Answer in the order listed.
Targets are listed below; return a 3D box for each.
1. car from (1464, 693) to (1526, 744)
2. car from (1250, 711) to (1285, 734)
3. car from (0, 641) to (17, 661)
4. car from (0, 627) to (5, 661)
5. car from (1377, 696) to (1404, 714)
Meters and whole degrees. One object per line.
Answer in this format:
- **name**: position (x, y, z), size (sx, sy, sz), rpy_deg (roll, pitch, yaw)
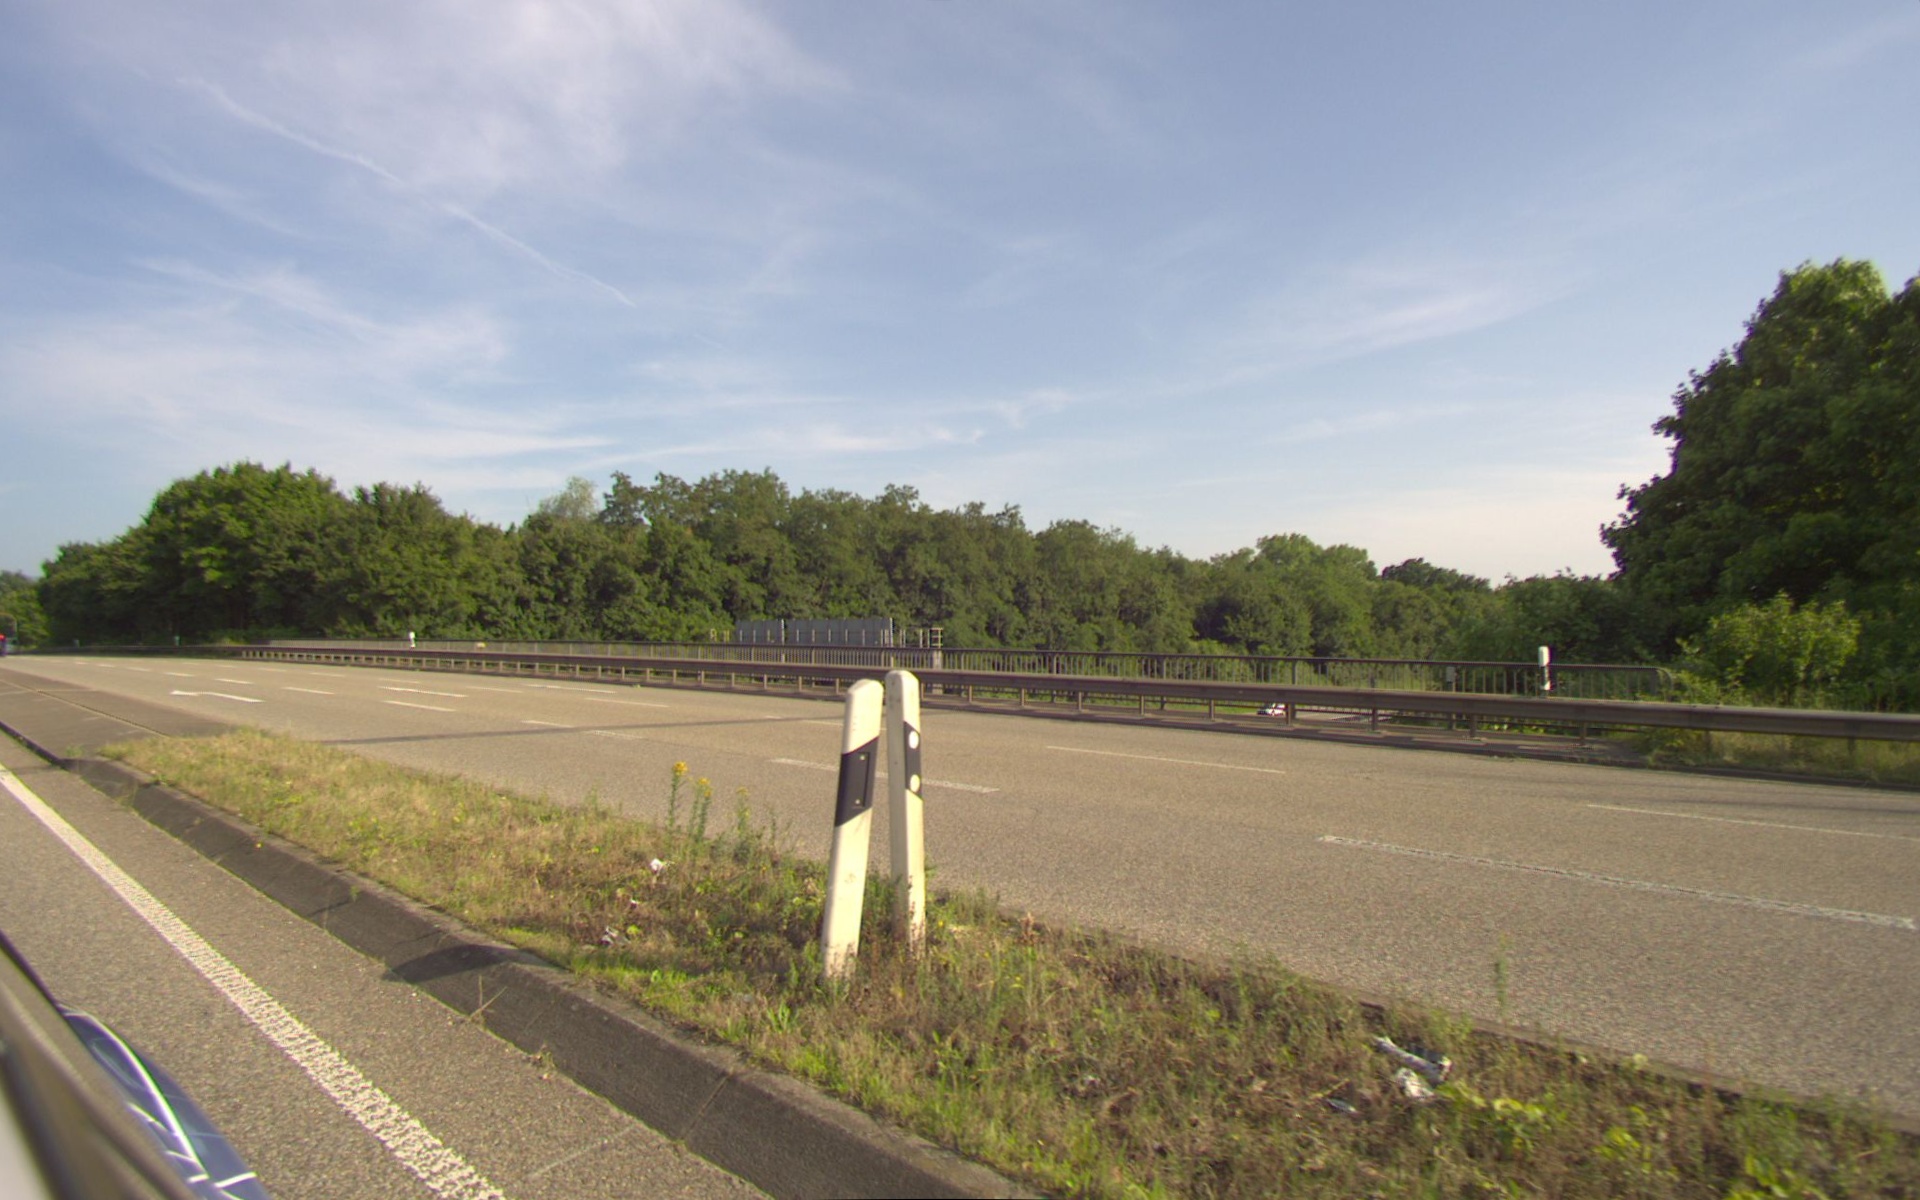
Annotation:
- **car**: position (38.089, 8.450, 71.931), size (2.762, 3.142, 6.232), rpy_deg (0, -8, 39)
- **car**: position (30.661, 12.188, 100.794), size (1.879, 1.737, 4.134), rpy_deg (-2, -1, 39)
- **car**: position (-99.433, 5.280, 104.974), size (4.418, 1.842, 1.895), rpy_deg (0, 0, 41)
- **car**: position (-55.442, 2.453, 56.982), size (4.616, 1.842, 1.973), rpy_deg (0, 0, 41)
- **car**: position (52.393, 12.778, 123.175), size (1.879, 1.737, 4.134), rpy_deg (-2, -1, 39)
